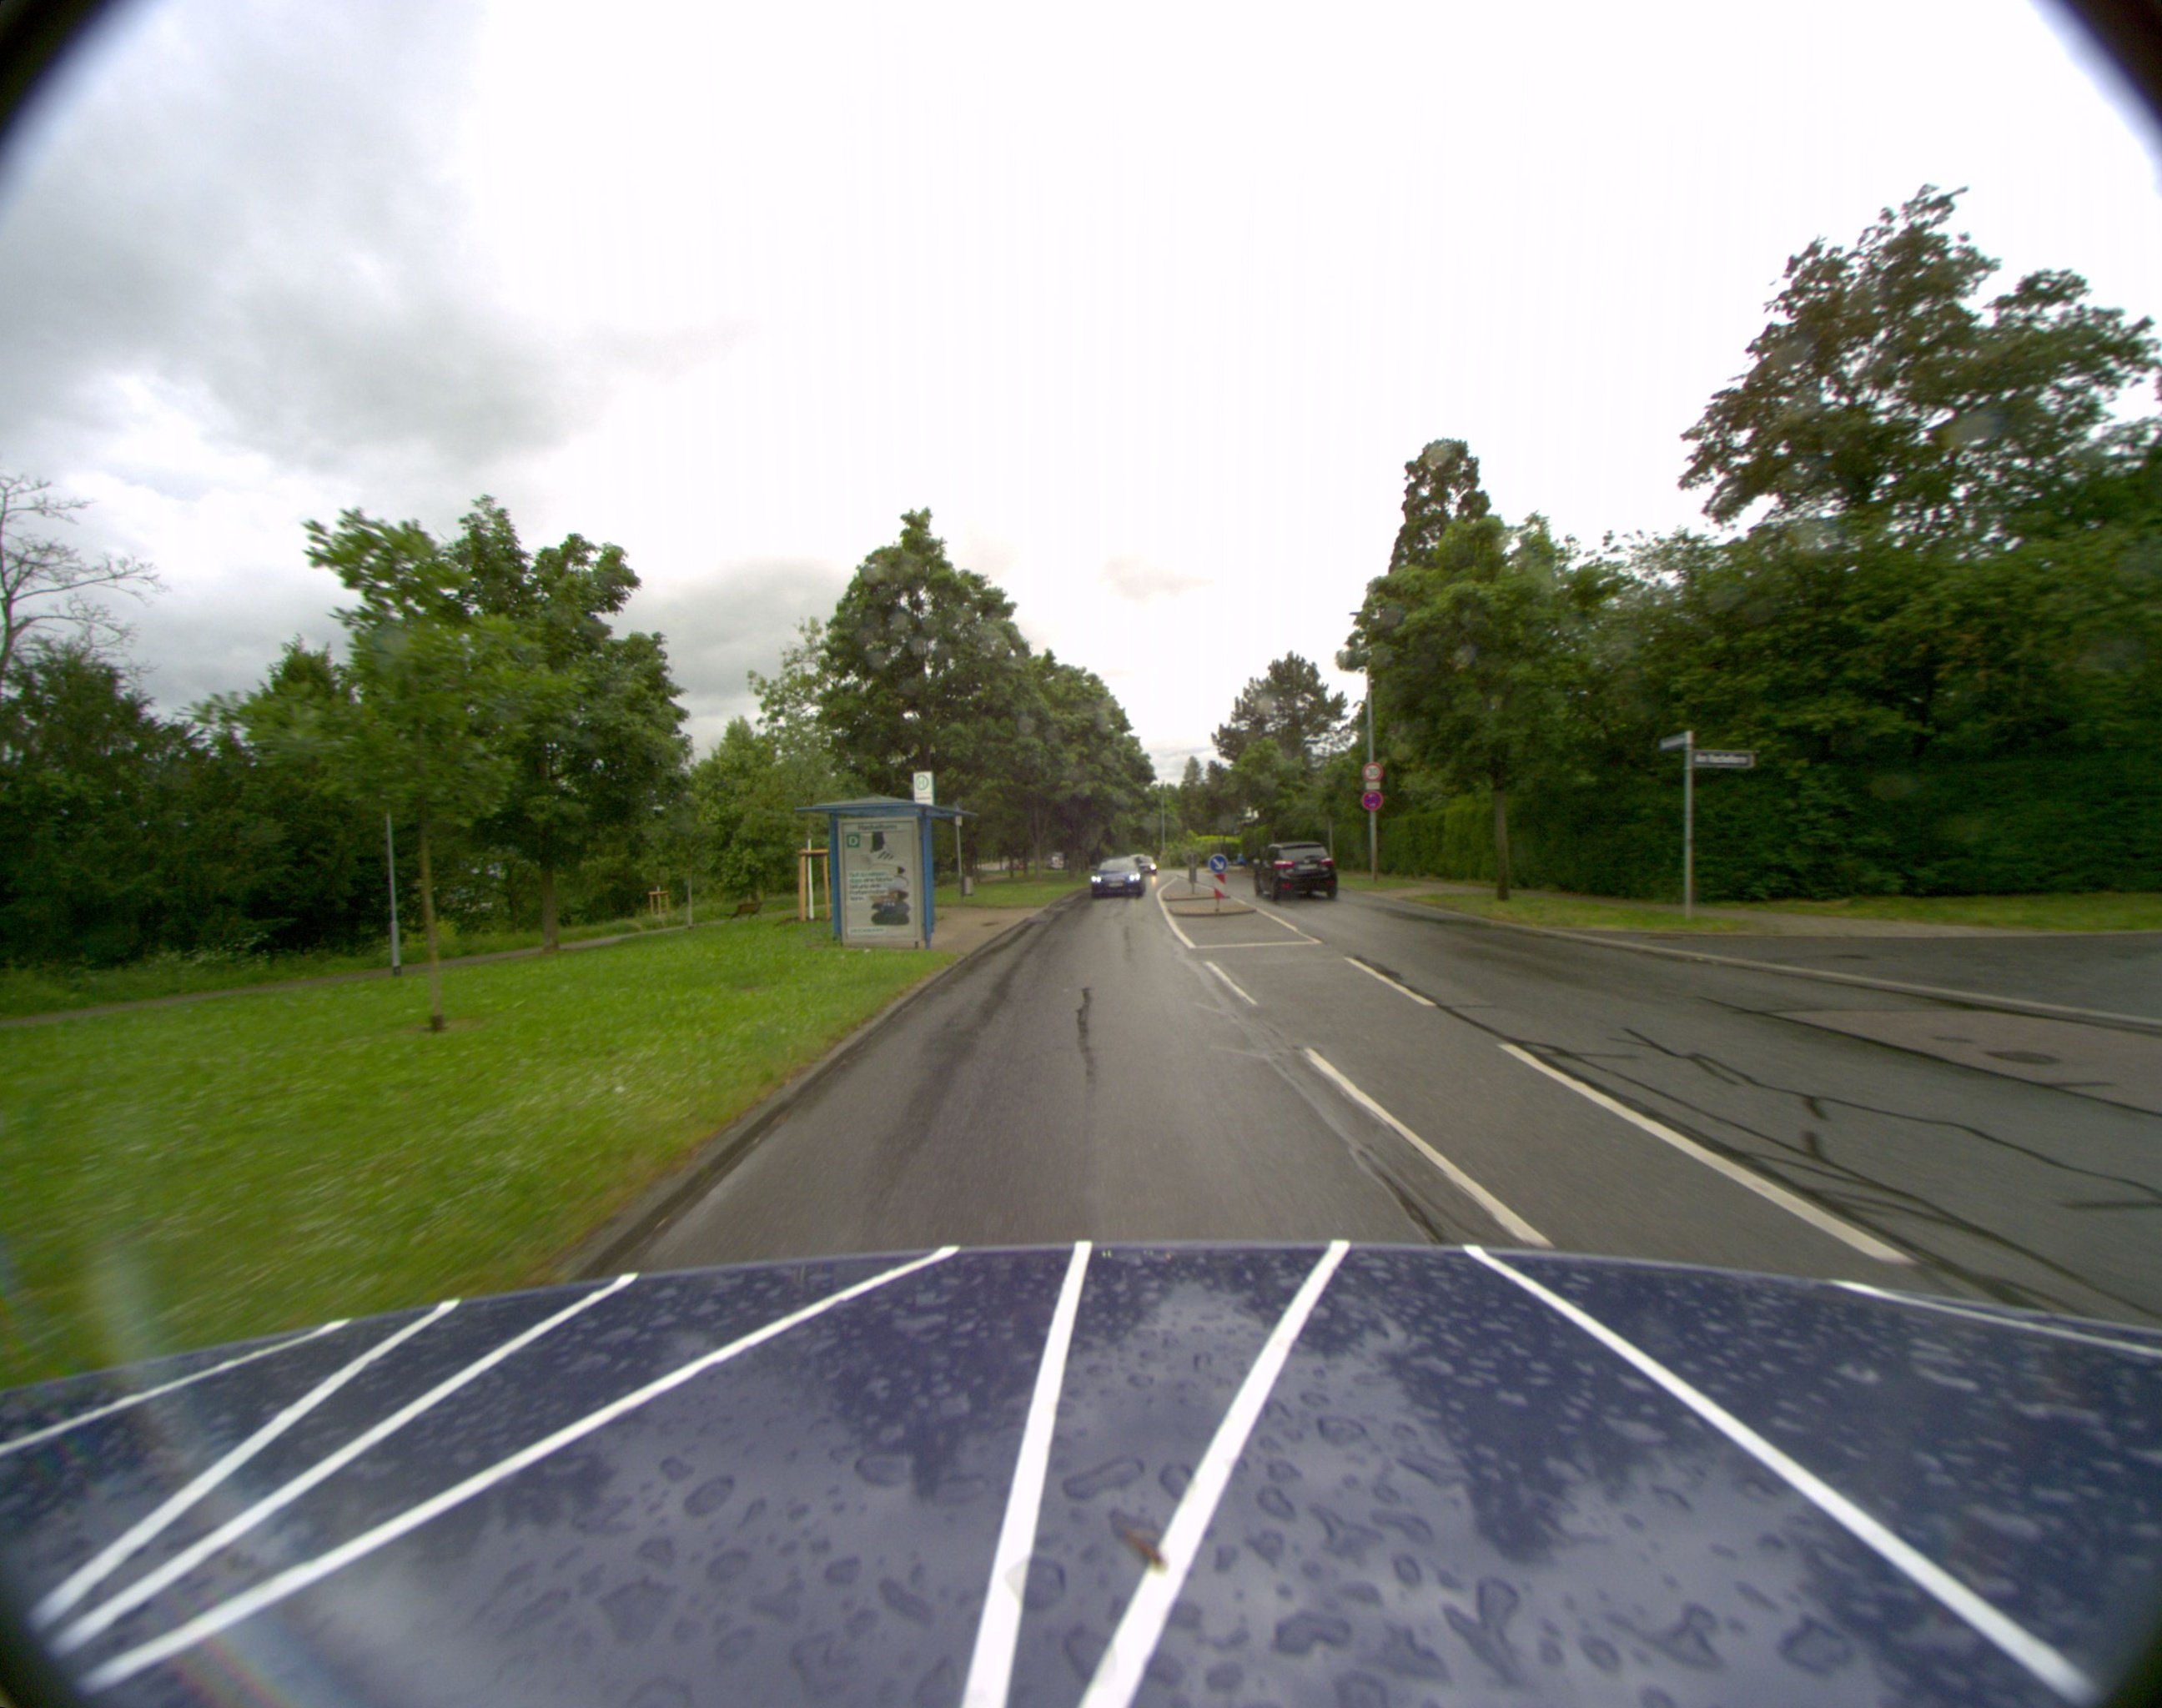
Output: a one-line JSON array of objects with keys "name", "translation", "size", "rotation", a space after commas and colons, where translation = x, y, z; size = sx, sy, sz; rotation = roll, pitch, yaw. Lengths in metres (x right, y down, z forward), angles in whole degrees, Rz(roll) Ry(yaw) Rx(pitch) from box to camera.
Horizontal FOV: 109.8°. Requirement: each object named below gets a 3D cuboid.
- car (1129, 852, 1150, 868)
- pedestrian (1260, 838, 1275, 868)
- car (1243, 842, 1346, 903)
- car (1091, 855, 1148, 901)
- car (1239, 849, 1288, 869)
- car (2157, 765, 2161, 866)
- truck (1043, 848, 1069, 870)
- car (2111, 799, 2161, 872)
[{"name": "car", "translation": [8.111, 0.870, 105.798], "size": [2.000, 2.077, 3.997], "rotation": [-3, 0, -10]}, {"name": "pedestrian", "translation": [11.792, -0.072, 47.977], "size": [0.712, 1.820, 0.881], "rotation": [-5, 0, 8]}, {"name": "car", "translation": [6.141, 0.478, 22.363], "size": [1.998, 1.568, 4.000], "rotation": [-2, 0, 2]}, {"name": "car", "translation": [1.536, 0.862, 28.755], "size": [1.838, 1.502, 4.002], "rotation": [-2, 0, 7]}, {"name": "car", "translation": [16.069, 0.421, 67.072], "size": [3.861, 1.577, 1.818], "rotation": [-3, 0, 0]}, {"name": "car", "translation": [28.786, -1.048, 17.563], "size": [2.000, 2.565, 3.997], "rotation": [-4, 0, -10]}, {"name": "truck", "translation": [-3.658, 0.704, 111.123], "size": [2.149, 3.028, 5.160], "rotation": [-3, 0, -19]}, {"name": "car", "translation": [26.569, -0.475, 16.758], "size": [1.849, 1.705, 4.152], "rotation": [-2, 0, -12]}]
